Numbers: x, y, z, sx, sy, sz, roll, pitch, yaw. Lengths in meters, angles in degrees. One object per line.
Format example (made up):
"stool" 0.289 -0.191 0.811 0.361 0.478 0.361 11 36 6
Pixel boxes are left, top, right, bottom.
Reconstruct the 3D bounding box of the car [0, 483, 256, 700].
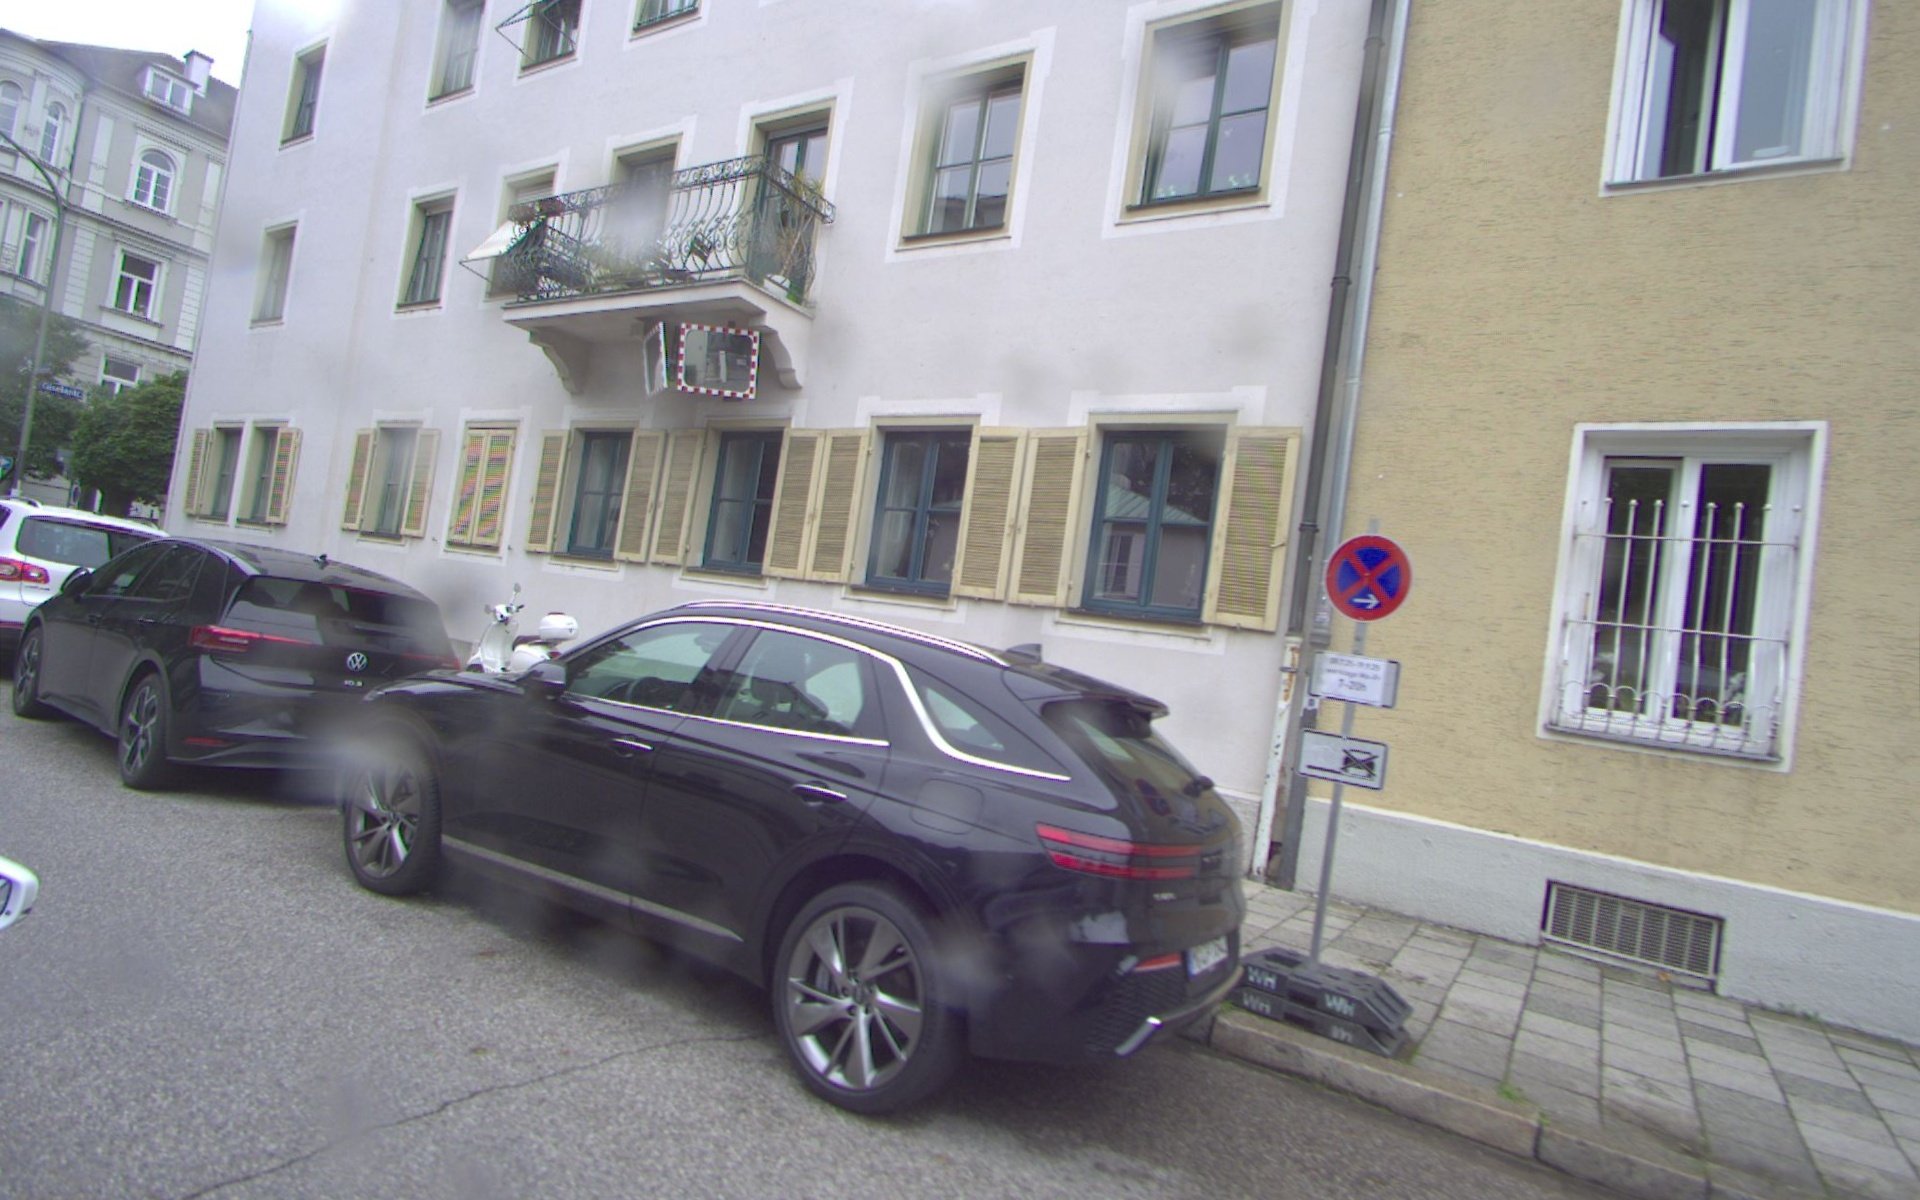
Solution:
"car" -9.698 -0.206 10.642 4.461 1.724 2.000 7 -5 34

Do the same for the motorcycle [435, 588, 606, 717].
"motorcycle" -5.271 0.612 12.035 1.975 1.252 0.734 6 -4 33

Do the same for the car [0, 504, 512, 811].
"car" -5.525 0.299 7.538 4.345 1.549 1.841 6 -2 35

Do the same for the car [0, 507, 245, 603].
"car" -21.360 -1.102 25.397 1.882 1.548 4.916 10 -2 33

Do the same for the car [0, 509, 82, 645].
"car" -13.417 -0.529 13.245 3.654 1.559 1.777 6 -8 36

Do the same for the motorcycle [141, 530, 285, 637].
"motorcycle" -12.461 -0.293 16.757 2.662 1.449 0.859 7 -3 32

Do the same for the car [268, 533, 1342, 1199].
"car" -0.965 0.784 4.775 4.817 1.595 1.865 7 -2 31
